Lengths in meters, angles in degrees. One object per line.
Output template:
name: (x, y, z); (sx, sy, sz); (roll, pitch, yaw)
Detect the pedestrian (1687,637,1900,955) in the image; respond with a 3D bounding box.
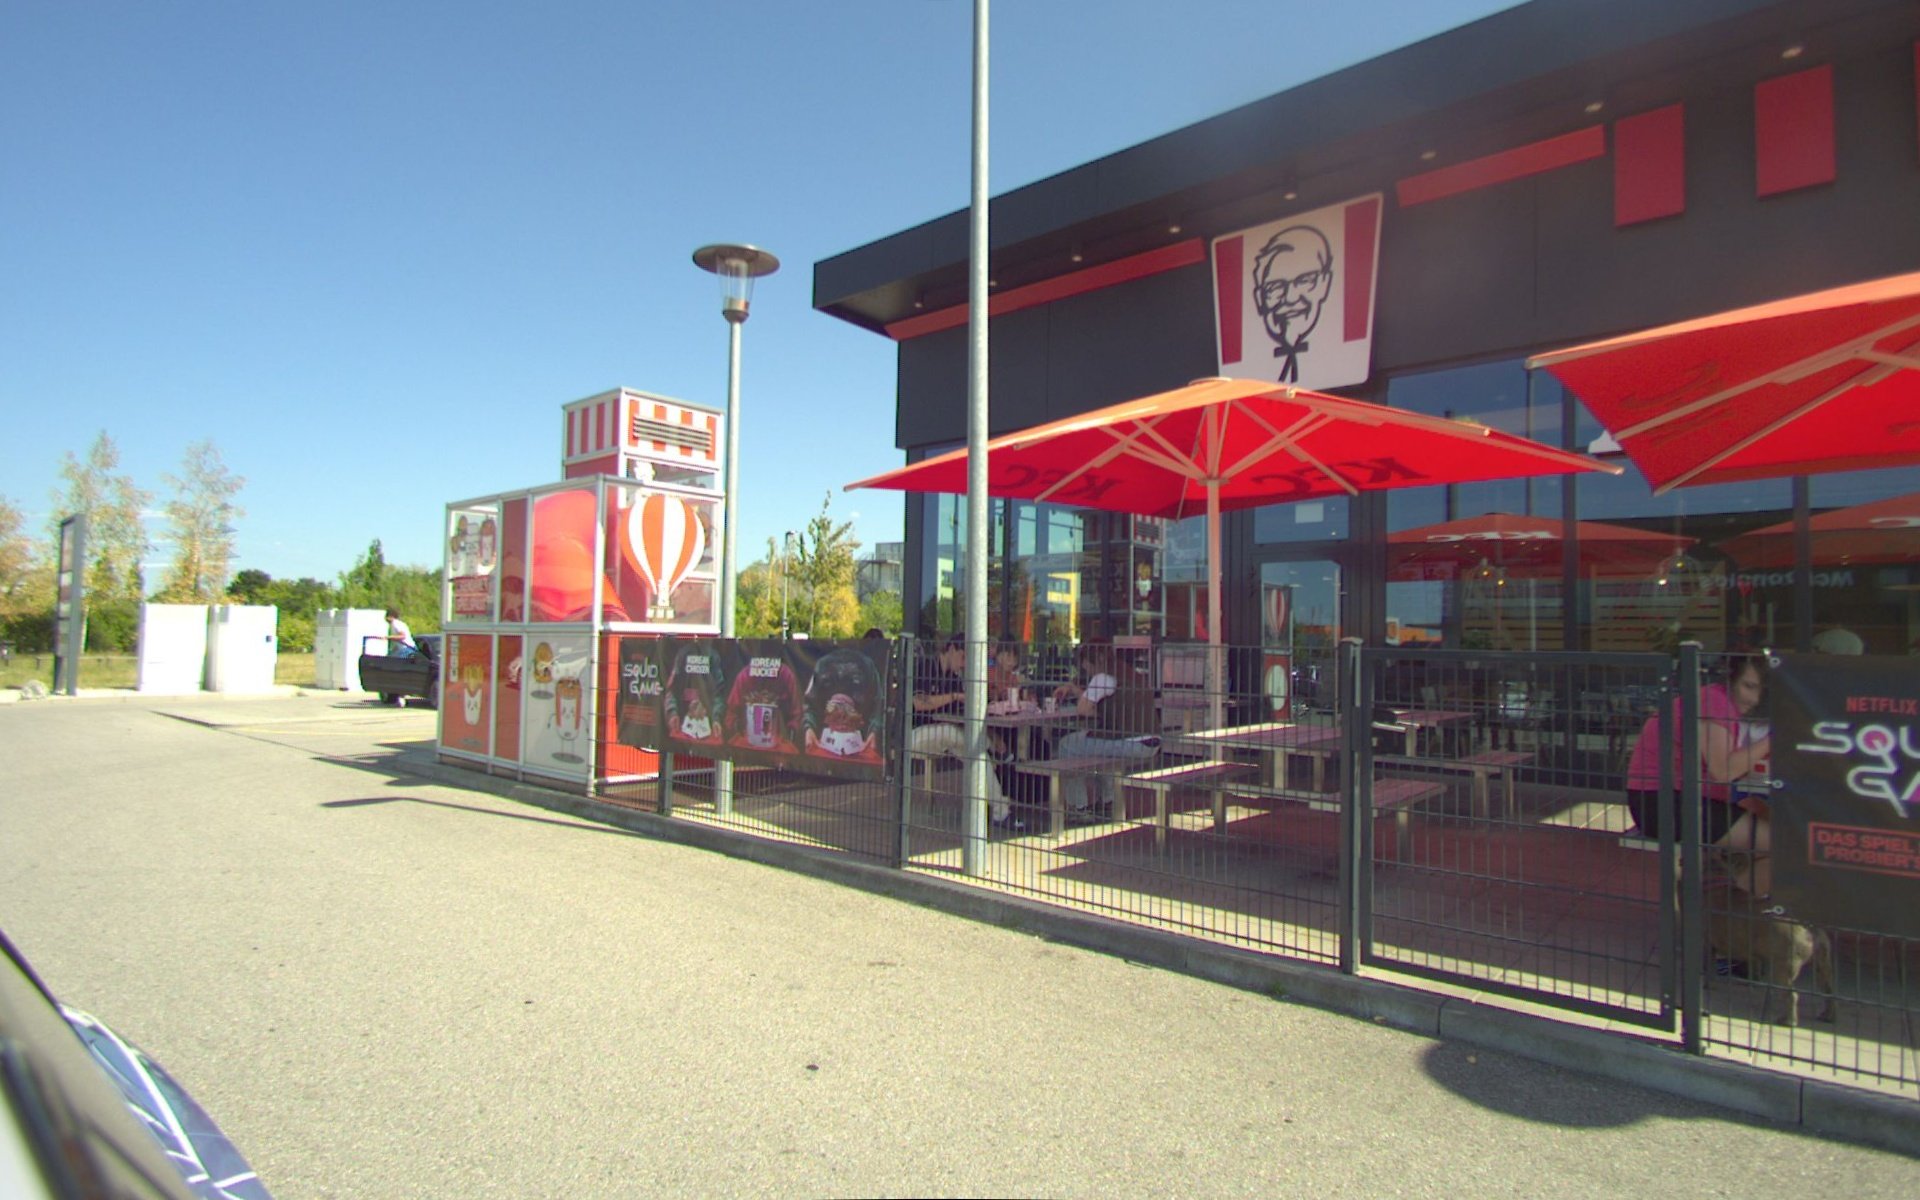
pedestrian: (3.692, 0.809, 4.543); (0.548, 1.283, 0.680); (-1, -3, 25)

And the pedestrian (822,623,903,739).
pedestrian: (-1.273, 1.037, 13.266); (0.693, 1.454, 0.787); (-2, -3, 40)

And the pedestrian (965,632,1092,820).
pedestrian: (0.508, 0.896, 7.548); (0.655, 1.314, 0.688); (2, -3, -40)

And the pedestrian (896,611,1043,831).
pedestrian: (0.060, 0.791, 6.993); (0.655, 1.398, 0.809); (2, -3, -40)

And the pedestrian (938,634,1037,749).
pedestrian: (0.326, 1.069, 12.204); (0.945, 1.322, 0.744); (-2, -3, 42)

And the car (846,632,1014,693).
car: (-0.896, 1.728, 28.344); (4.546, 1.581, 1.973); (-2, -4, 40)

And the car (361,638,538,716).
car: (-10.528, 1.500, 20.744); (4.312, 1.422, 1.706); (-2, -3, 41)

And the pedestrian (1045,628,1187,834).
pedestrian: (1.070, 0.854, 6.966); (0.655, 1.314, 0.713); (2, -3, -40)

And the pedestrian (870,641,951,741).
pedestrian: (-0.622, 1.129, 12.801); (0.694, 1.209, 0.744); (-2, -3, 42)

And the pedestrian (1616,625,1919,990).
pedestrian: (3.190, 0.746, 4.044); (0.837, 1.283, 0.679); (-1, -3, 25)

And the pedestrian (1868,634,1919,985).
pedestrian: (3.817, 0.765, 3.647); (0.621, 1.283, 0.608); (-1, -3, 25)

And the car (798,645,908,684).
car: (-4.569, 2.750, 43.672); (2.217, 1.538, 4.372); (0, -2, 41)
